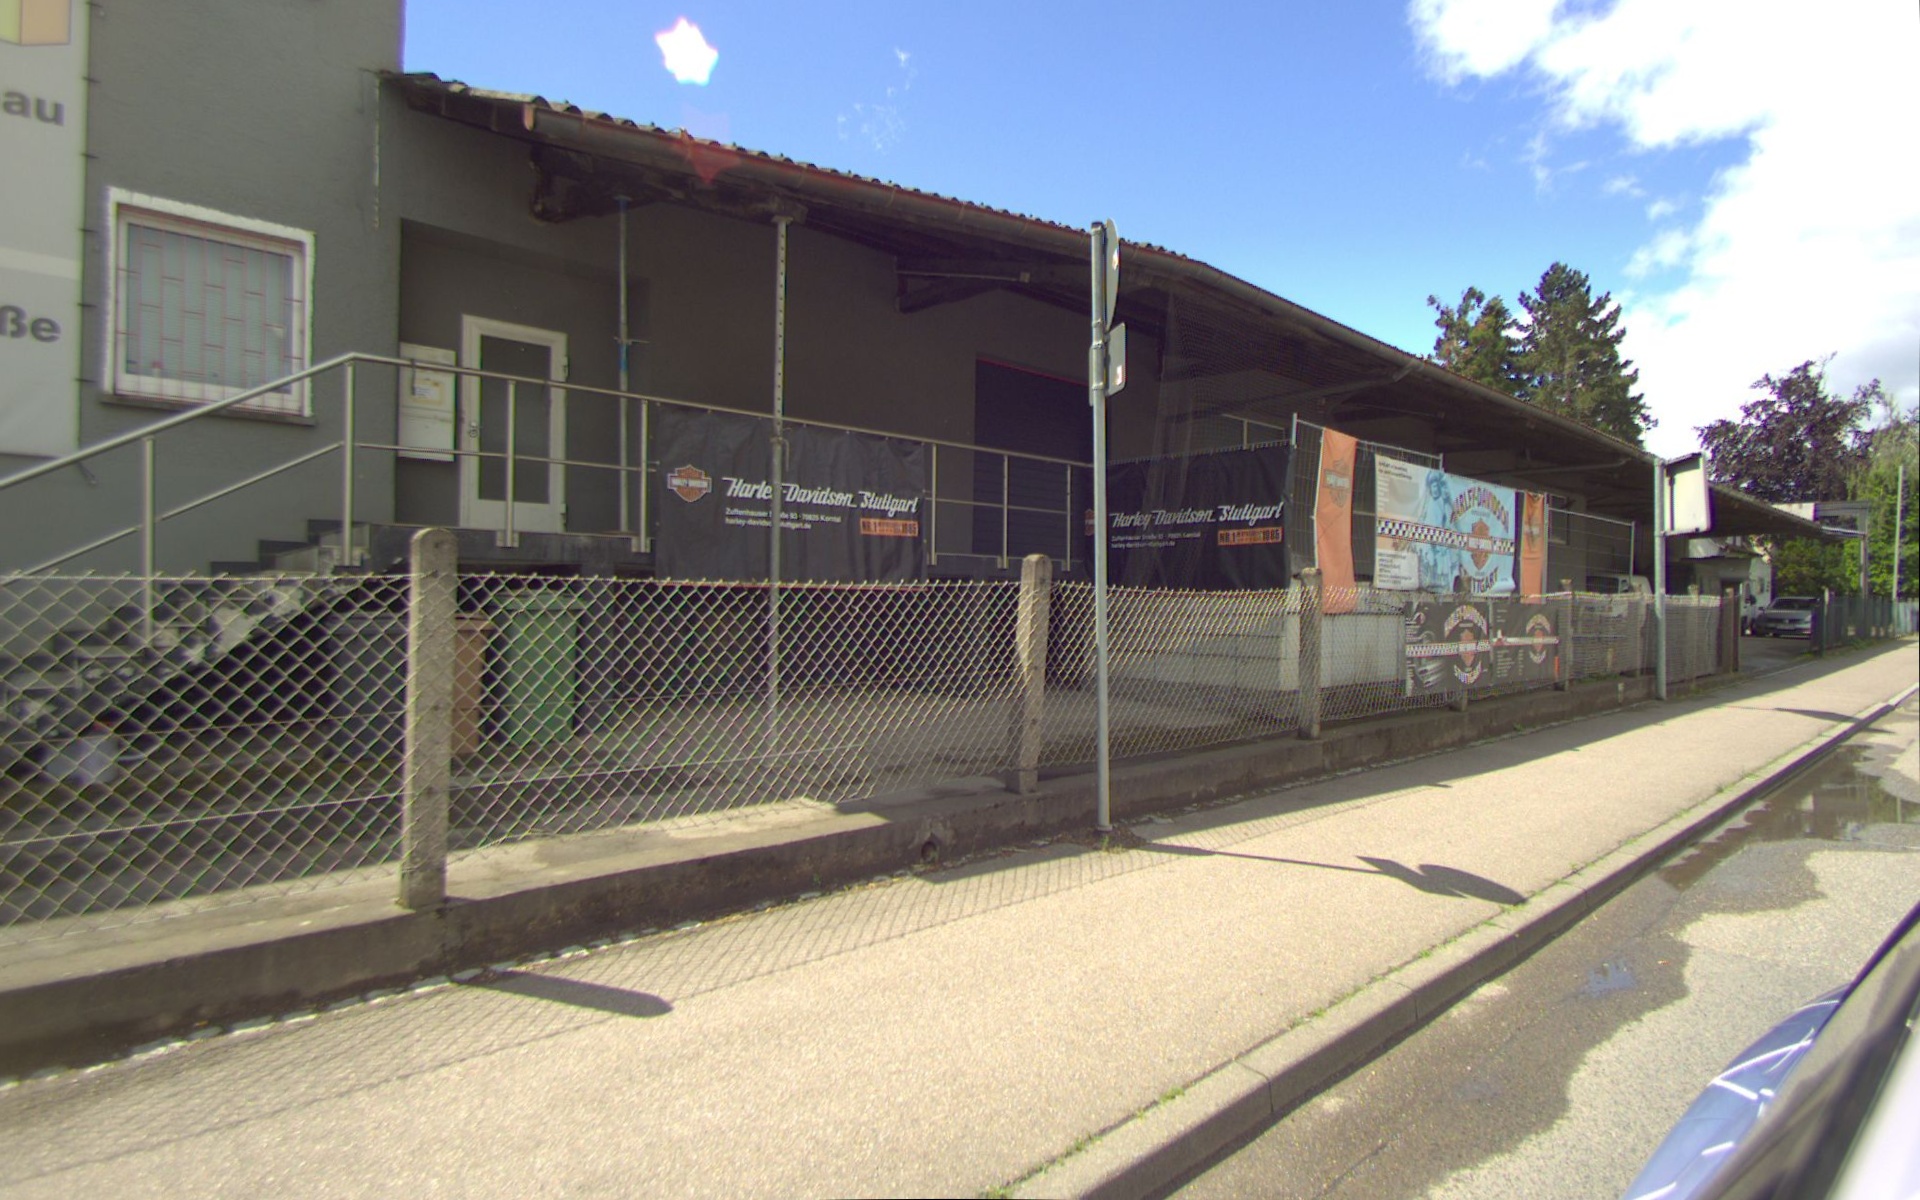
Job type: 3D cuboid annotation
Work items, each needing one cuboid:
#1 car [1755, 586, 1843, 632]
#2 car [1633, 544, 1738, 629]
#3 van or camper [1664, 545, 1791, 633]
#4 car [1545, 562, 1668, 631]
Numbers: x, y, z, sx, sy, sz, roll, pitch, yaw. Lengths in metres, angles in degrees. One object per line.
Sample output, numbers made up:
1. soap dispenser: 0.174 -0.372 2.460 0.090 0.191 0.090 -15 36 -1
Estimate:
1. car: 29.582 0.317 35.640 4.842 1.508 1.766 1 0 -43
2. car: 25.161 -0.400 35.004 5.405 2.715 2.019 2 -1 -44
3. van or camper: 29.606 -0.408 38.914 6.798 3.099 2.883 0 0 -44
4. car: 19.793 -0.093 30.899 4.770 1.934 1.996 1 0 -43
